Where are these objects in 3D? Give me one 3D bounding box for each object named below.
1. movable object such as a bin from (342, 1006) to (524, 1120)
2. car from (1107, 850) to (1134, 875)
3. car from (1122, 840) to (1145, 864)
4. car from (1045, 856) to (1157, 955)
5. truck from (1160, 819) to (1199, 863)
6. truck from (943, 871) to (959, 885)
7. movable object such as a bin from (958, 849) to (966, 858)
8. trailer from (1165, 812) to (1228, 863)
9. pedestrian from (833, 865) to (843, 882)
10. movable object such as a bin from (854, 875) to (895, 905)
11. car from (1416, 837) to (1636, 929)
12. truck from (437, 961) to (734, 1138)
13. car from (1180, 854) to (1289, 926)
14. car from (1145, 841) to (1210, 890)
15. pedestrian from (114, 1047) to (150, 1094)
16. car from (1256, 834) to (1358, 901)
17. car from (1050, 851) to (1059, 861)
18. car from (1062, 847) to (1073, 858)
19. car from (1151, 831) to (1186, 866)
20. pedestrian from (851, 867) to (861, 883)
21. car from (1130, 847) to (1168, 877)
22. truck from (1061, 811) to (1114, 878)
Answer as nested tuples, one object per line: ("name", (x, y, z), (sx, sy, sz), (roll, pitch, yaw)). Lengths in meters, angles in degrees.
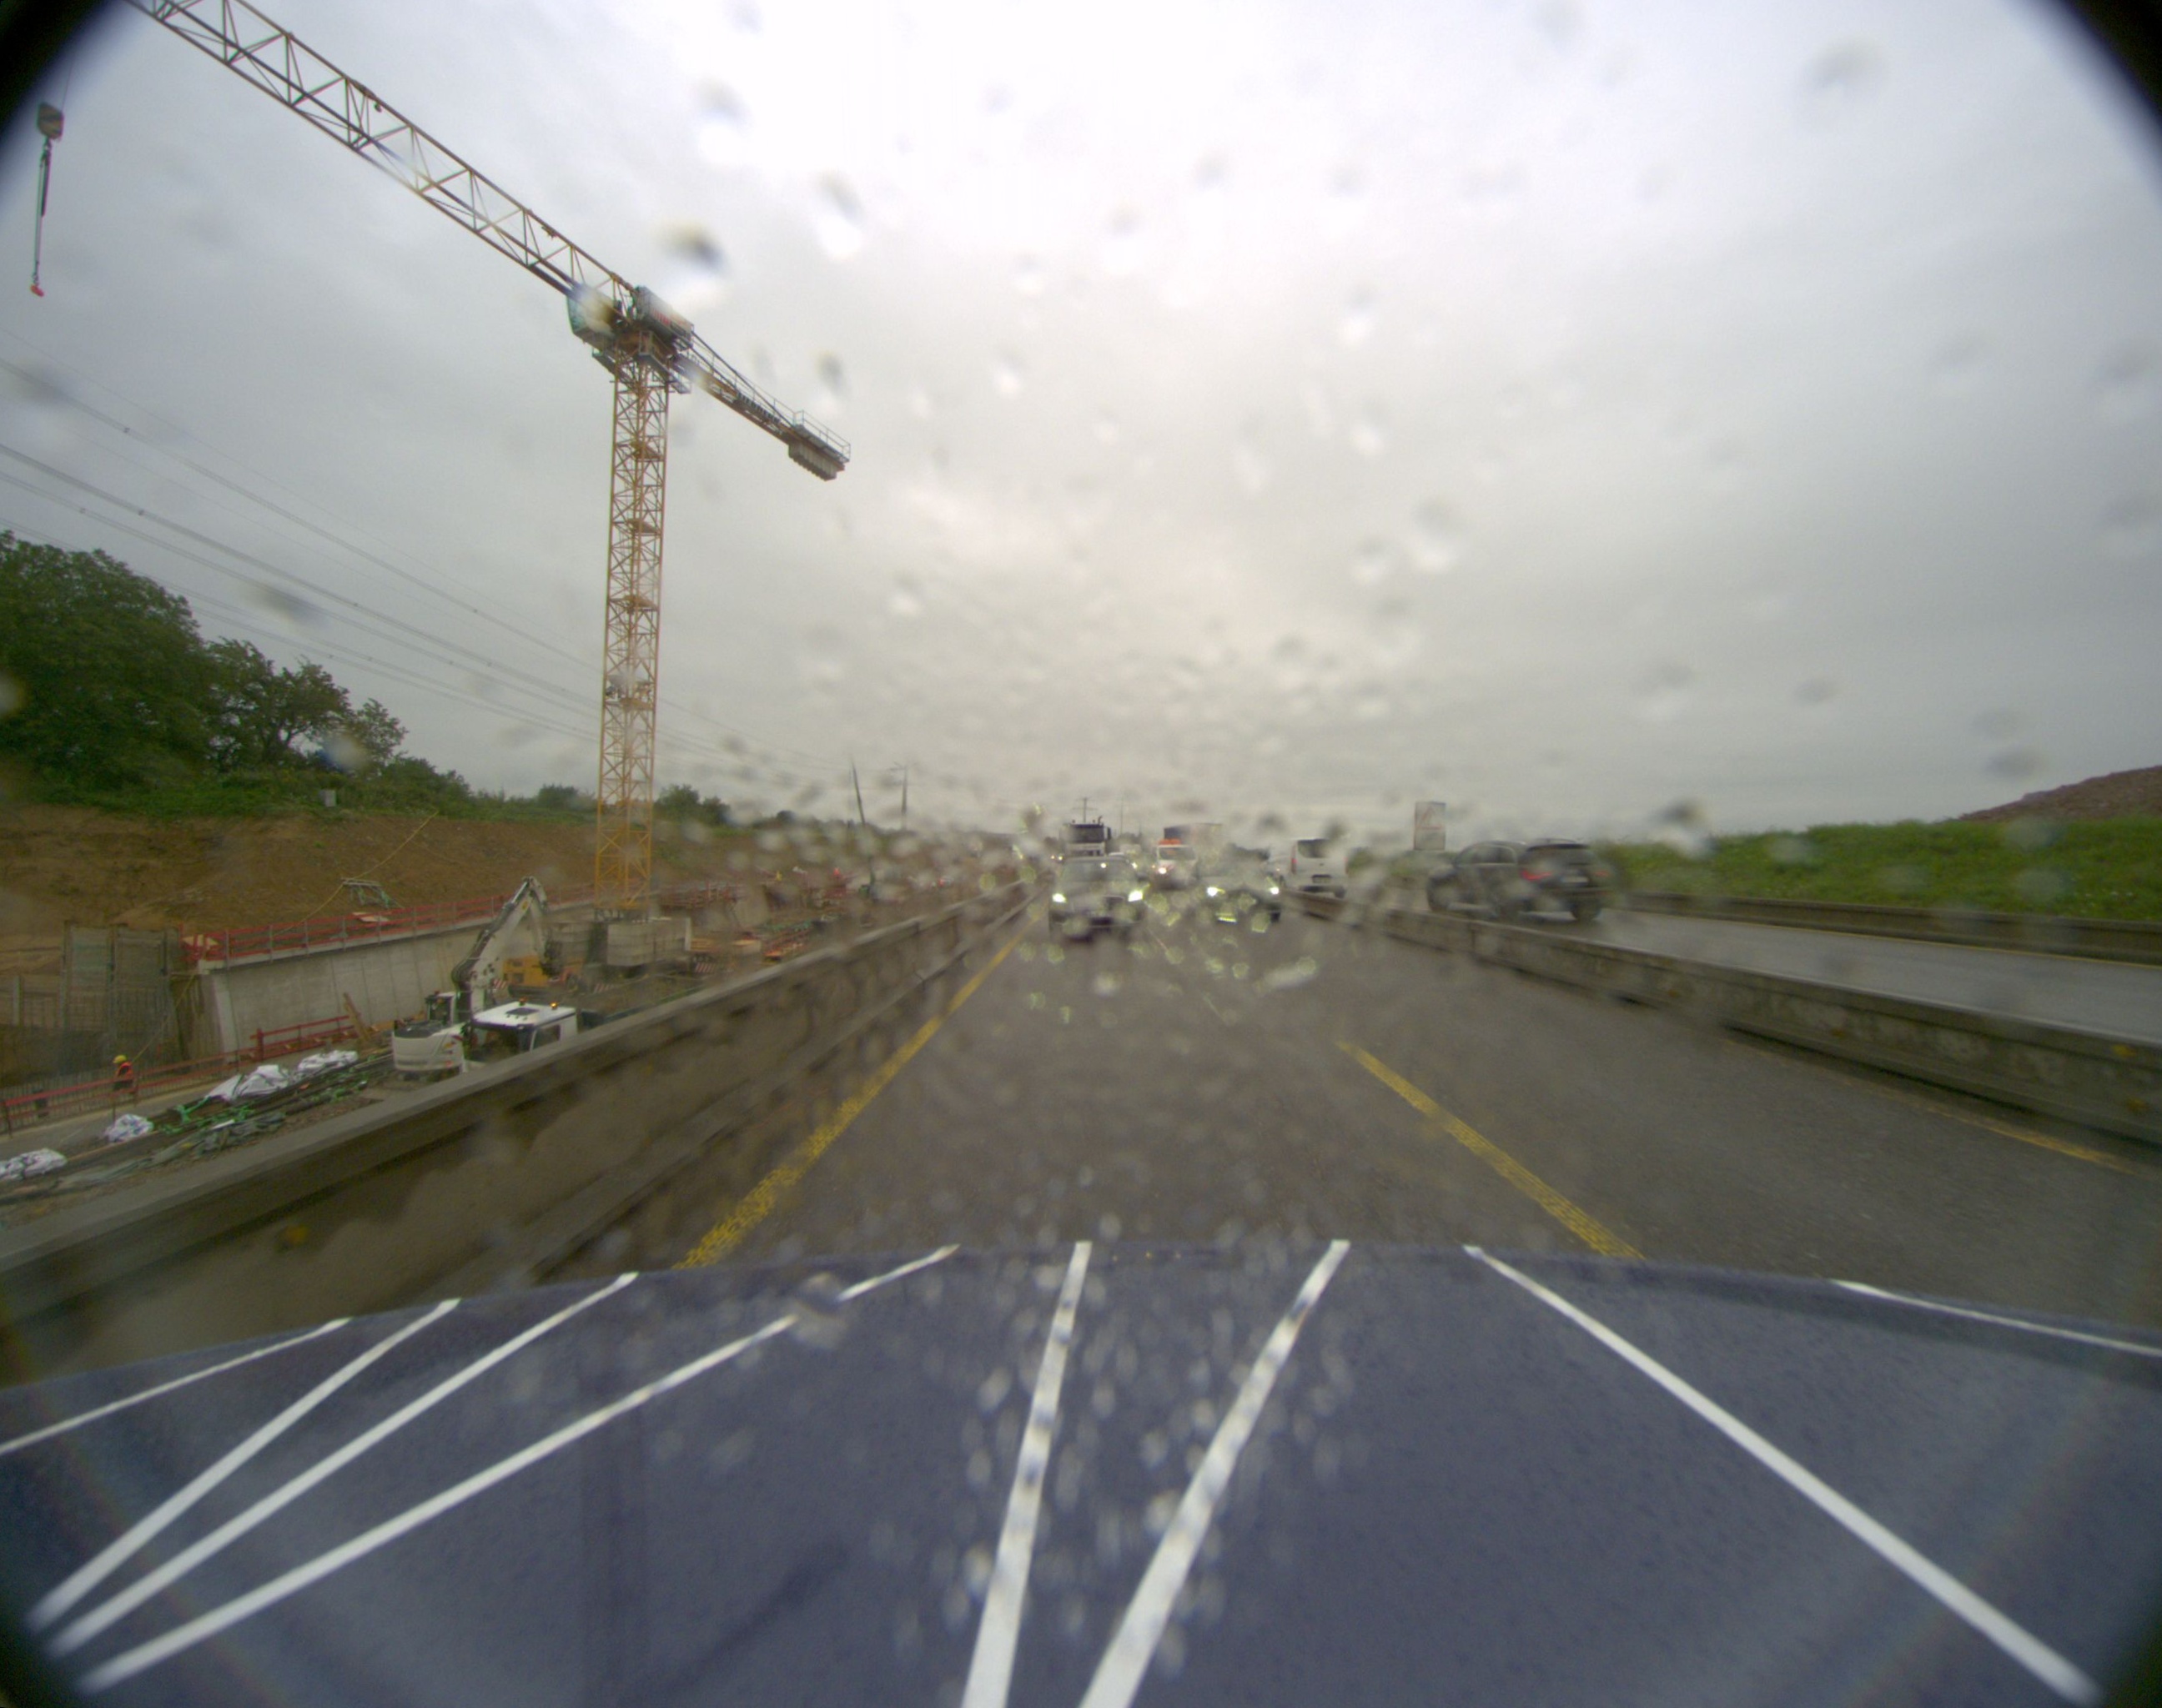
("movable object such as a bin", (-20.594, 6.586, 24.364), (3.157, 2.722, 2.968), (-2, 1, 1))
("car", (3.171, 0.650, 61.652), (1.800, 1.851, 4.285), (-2, 1, -2))
("car", (5.938, -0.202, 86.334), (2.011, 2.638, 6.884), (-2, 0, -1))
("car", (0.362, 0.855, 14.605), (1.799, 1.524, 4.307), (-2, 0, 1))
("truck", (9.586, -1.202, 74.657), (2.796, 4.011, 5.818), (-2, 0, -2))
("truck", (-20.010, 3.692, 117.408), (1.767, 1.860, 5.783), (0, 1, -3))
("movable object such as a bin", (-37.778, -0.059, 241.700), (2.253, 2.704, 3.997), (-2, 1, -7))
("trailer", (9.931, -1.255, 67.264), (2.787, 4.011, 13.738), (-2, 0, -2))
("pedestrian", (-33.417, 2.706, 104.584), (0.918, 2.234, 1.005), (-6, 3, -7))
("movable object such as a bin", (-24.852, 4.281, 91.674), (3.803, 2.791, 4.848), (-1, 6, -4))
("car", (9.499, 0.553, 16.839), (1.998, 1.677, 4.969), (-2, 0, 1))
("truck", (-16.055, 6.114, 25.839), (2.703, 3.483, 8.954), (-2, 1, 13))
("car", (3.557, 0.774, 18.335), (1.799, 1.389, 4.268), (-2, 1, 1))
("car", (4.063, 0.411, 32.840), (2.160, 1.848, 5.178), (-2, 1, 1))
("pedestrian", (-32.321, 7.368, 25.876), (0.424, 1.427, 0.399), (-11, 1, 4))
("car", (7.506, 0.426, 25.783), (1.998, 1.988, 4.969), (-2, 0, 1))
("car", (-5.298, 0.383, 151.705), (1.800, 1.851, 4.285), (-2, 1, -1))
("car", (-2.386, -0.221, 134.728), (1.800, 1.851, 4.286), (-2, 1, 0))
("car", (6.936, -0.436, 61.178), (2.059, 2.562, 7.021), (-2, 0, 1))
("pedestrian", (-32.302, 2.976, 109.199), (0.917, 2.219, 1.005), (-6, 3, 0))
("car", (3.892, 0.411, 43.825), (1.799, 1.521, 4.066), (-2, 1, 0))
("truck", (0.286, -0.621, 47.055), (2.837, 3.617, 9.117), (-2, 1, -1))
